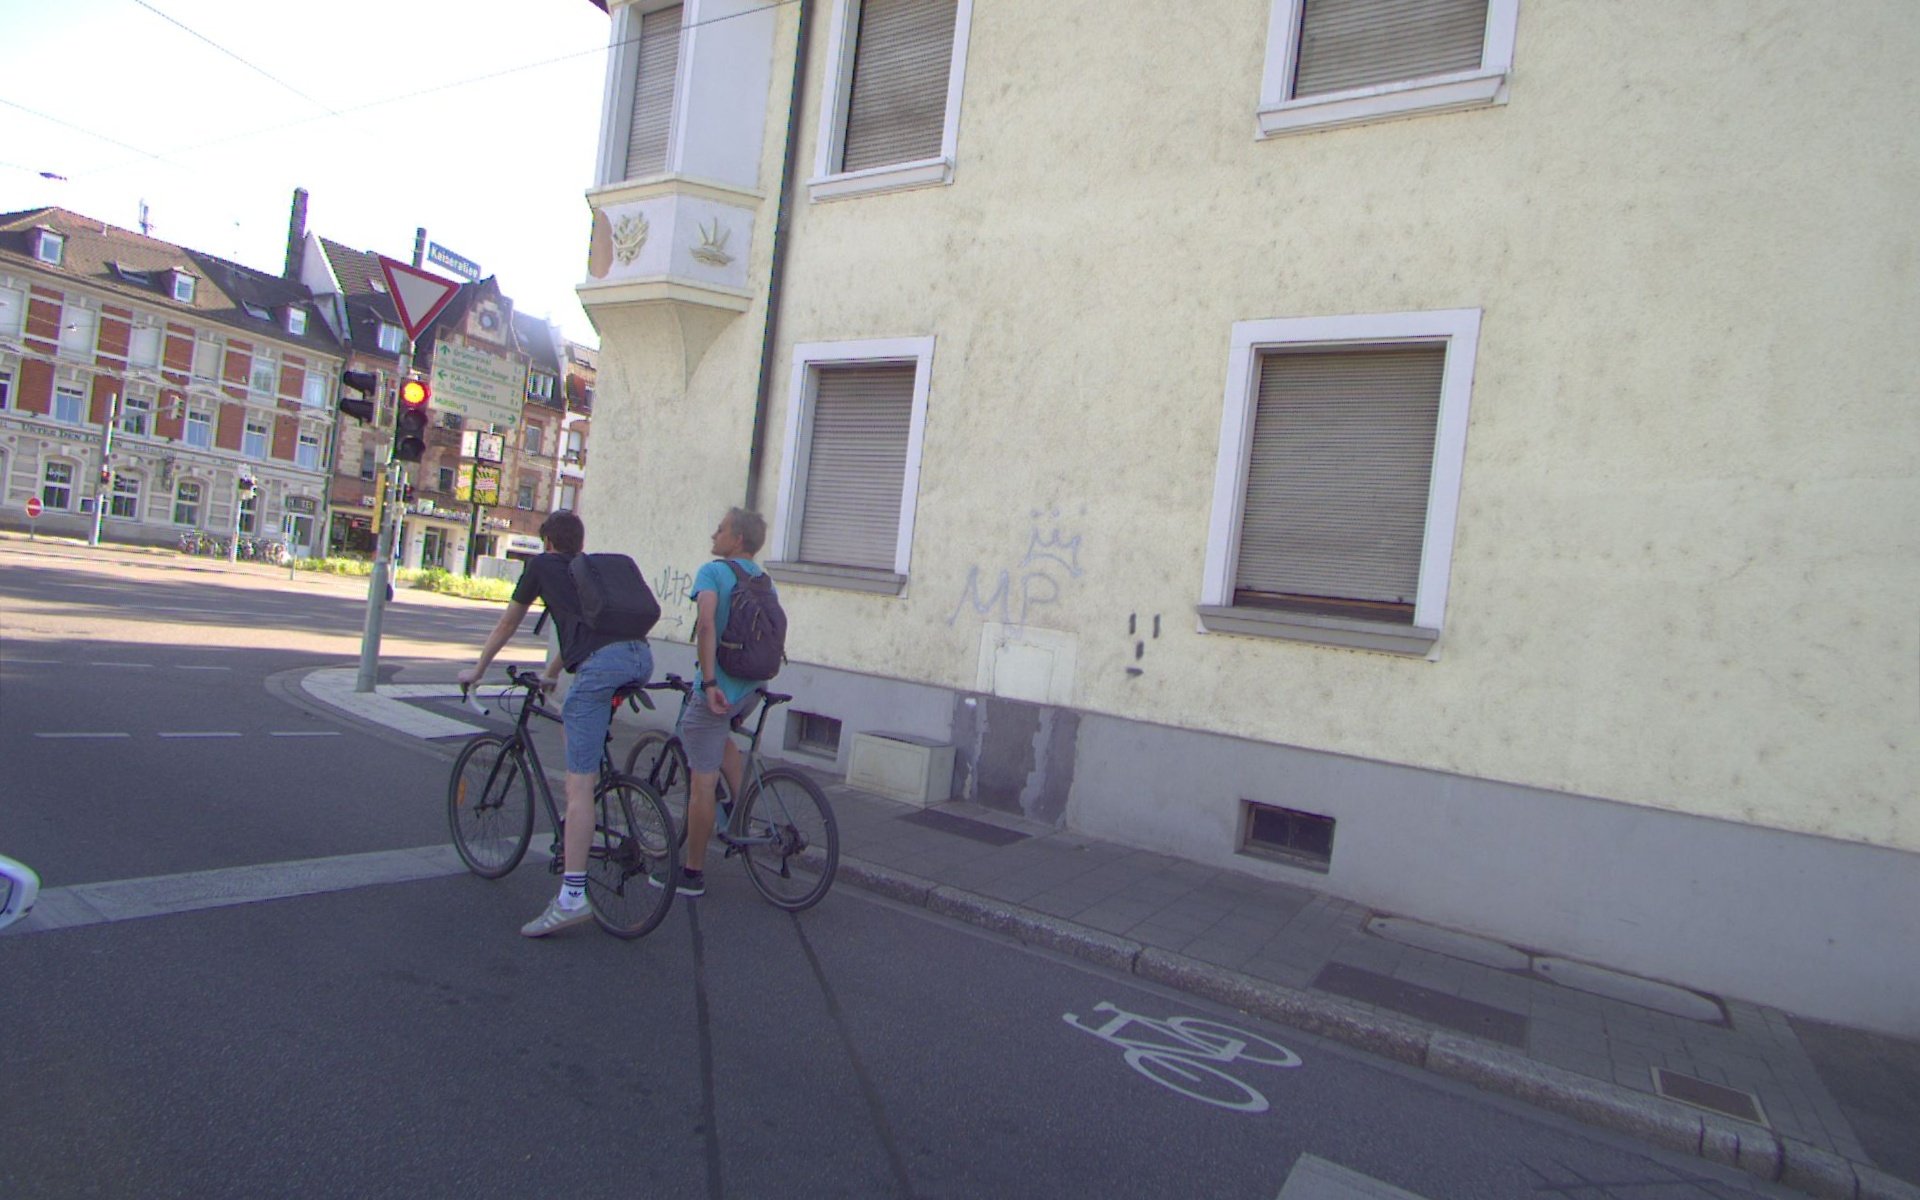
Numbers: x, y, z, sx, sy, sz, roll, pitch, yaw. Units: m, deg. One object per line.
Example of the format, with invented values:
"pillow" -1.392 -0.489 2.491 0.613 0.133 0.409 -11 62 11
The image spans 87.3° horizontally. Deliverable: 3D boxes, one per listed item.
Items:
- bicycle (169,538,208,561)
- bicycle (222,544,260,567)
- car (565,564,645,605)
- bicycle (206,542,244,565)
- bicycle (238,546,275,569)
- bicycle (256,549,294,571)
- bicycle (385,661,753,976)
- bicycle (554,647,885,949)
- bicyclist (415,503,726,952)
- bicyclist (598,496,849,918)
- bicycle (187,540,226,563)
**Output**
"bicycle" -34.874 -2.293 45.476 2.125 0.850 0.659 6 -2 33
"bicycle" -33.851 -2.083 47.361 2.125 0.850 0.659 6 -2 33
"car" -23.018 -0.987 65.323 1.968 2.038 4.430 7 -1 34
"bicycle" -34.185 -2.151 46.764 2.125 0.850 0.659 6 -2 33
"bicycle" -33.495 -2.014 47.891 2.125 0.850 0.659 6 -2 33
"bicycle" -33.107 -1.935 48.596 2.125 0.850 0.659 6 -2 33
"bicycle" -1.793 0.882 4.507 1.721 0.982 0.519 7 0 32
"bicycle" -1.309 0.943 5.264 1.767 1.104 0.518 9 1 35
"bicyclist" -1.745 0.498 4.486 1.098 1.722 0.573 7 0 32
"bicyclist" -1.244 0.509 5.254 0.930 1.958 0.518 10 2 35
"bicycle" -34.558 -2.225 46.143 2.125 0.850 0.659 6 -2 33
